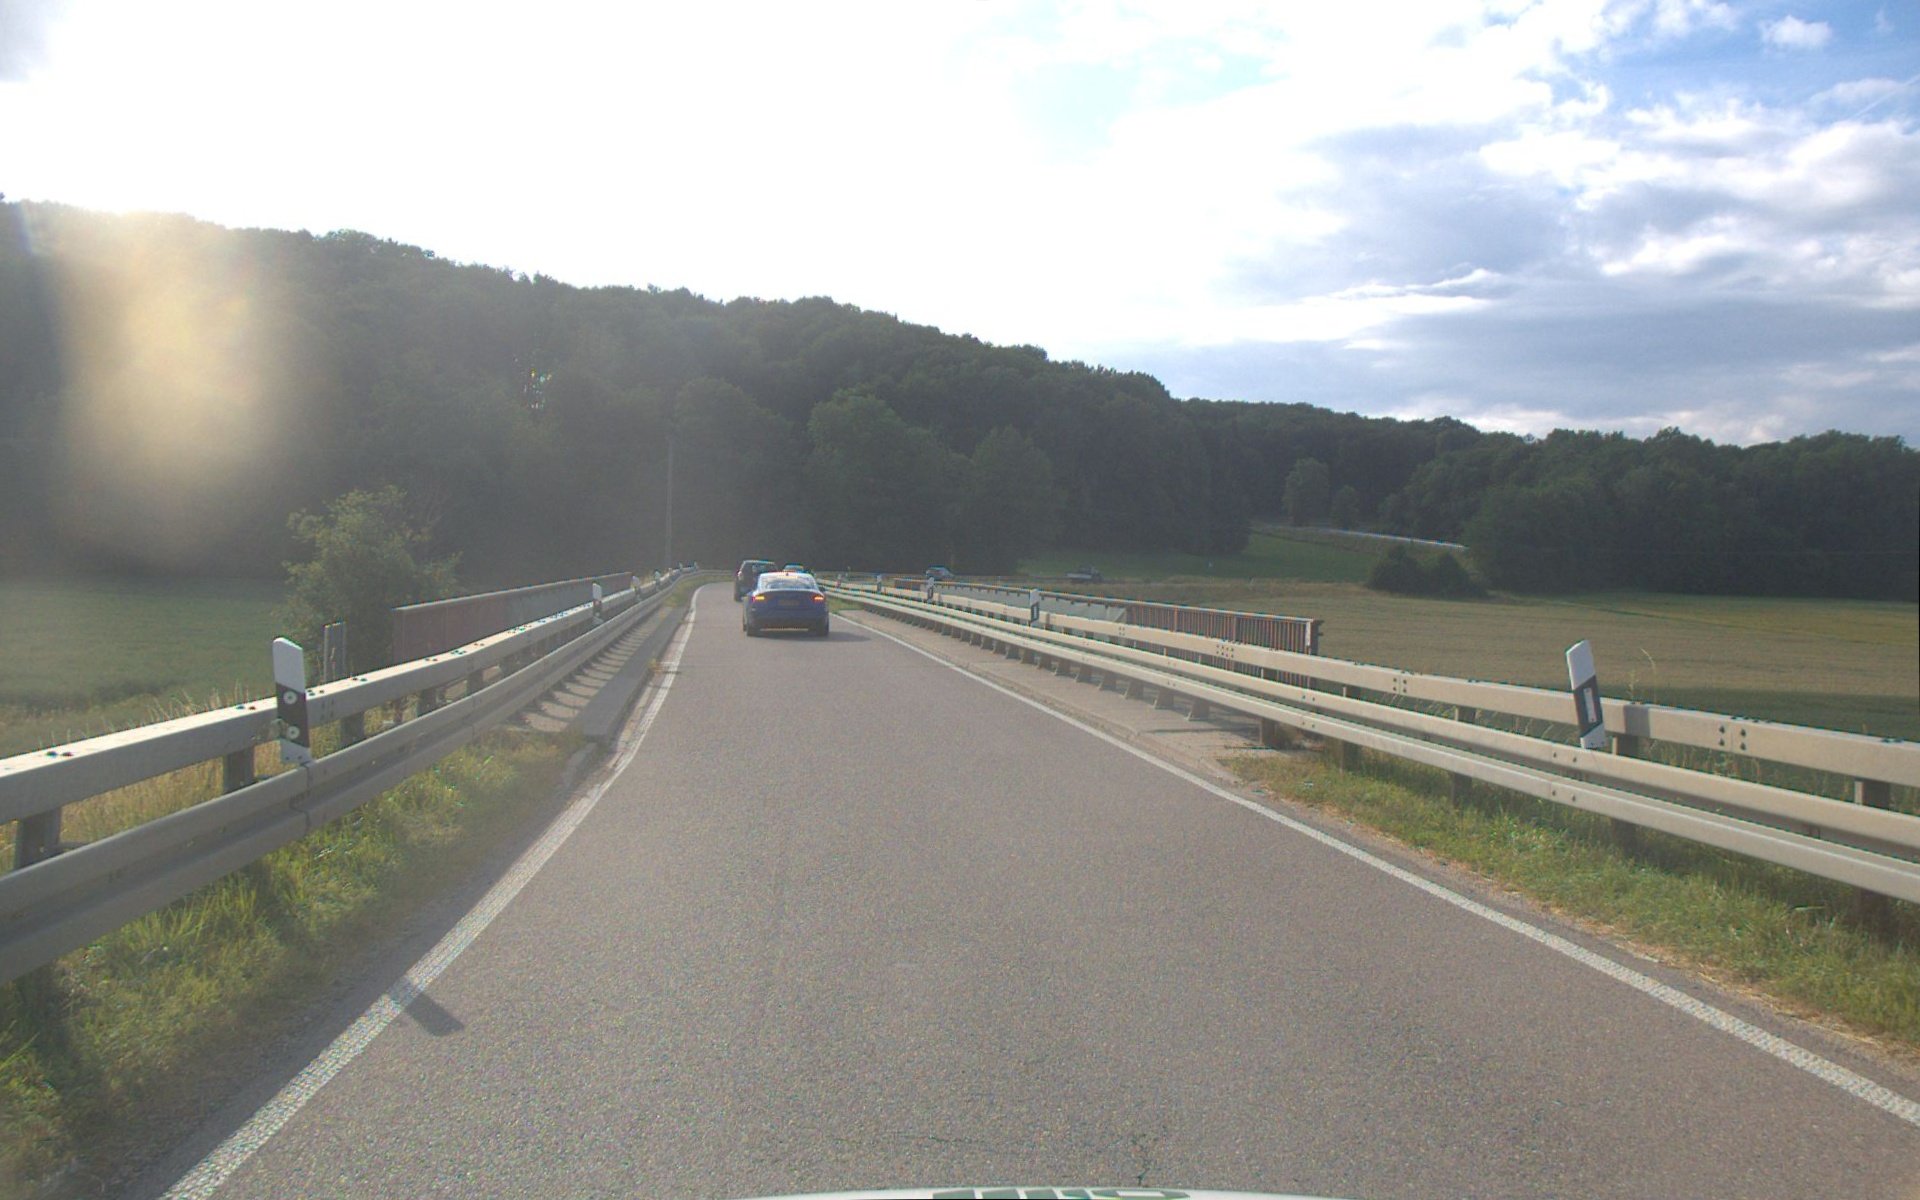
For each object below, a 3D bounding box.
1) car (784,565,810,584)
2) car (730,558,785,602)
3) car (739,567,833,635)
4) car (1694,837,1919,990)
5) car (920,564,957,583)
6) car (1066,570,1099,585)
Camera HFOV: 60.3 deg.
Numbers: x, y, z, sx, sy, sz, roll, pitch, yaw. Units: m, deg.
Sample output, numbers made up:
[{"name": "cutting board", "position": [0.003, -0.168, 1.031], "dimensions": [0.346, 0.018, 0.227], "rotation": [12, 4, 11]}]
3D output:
[{"name": "car", "position": [-11.787, -1.820, 119.535], "dimensions": [1.441, 1.248, 3.300], "rotation": [2, -1, 1]}, {"name": "car", "position": [-8.073, -0.816, 65.806], "dimensions": [1.829, 1.596, 3.989], "rotation": [2, 1, -11]}, {"name": "car", "position": [-3.984, -0.008, 37.385], "dimensions": [1.785, 1.362, 4.340], "rotation": [2, 1, -10]}, {"name": "car", "position": [19.613, 6.803, 36.263], "dimensions": [5.990, 2.628, 2.370], "rotation": [1, 5, -9]}, {"name": "car", "position": [-2.134, -2.689, 167.374], "dimensions": [1.956, 1.708, 4.172], "rotation": [4, 0, 27]}, {"name": "car", "position": [14.691, -2.730, 197.798], "dimensions": [1.963, 1.802, 3.980], "rotation": [2, 2, 39]}]
